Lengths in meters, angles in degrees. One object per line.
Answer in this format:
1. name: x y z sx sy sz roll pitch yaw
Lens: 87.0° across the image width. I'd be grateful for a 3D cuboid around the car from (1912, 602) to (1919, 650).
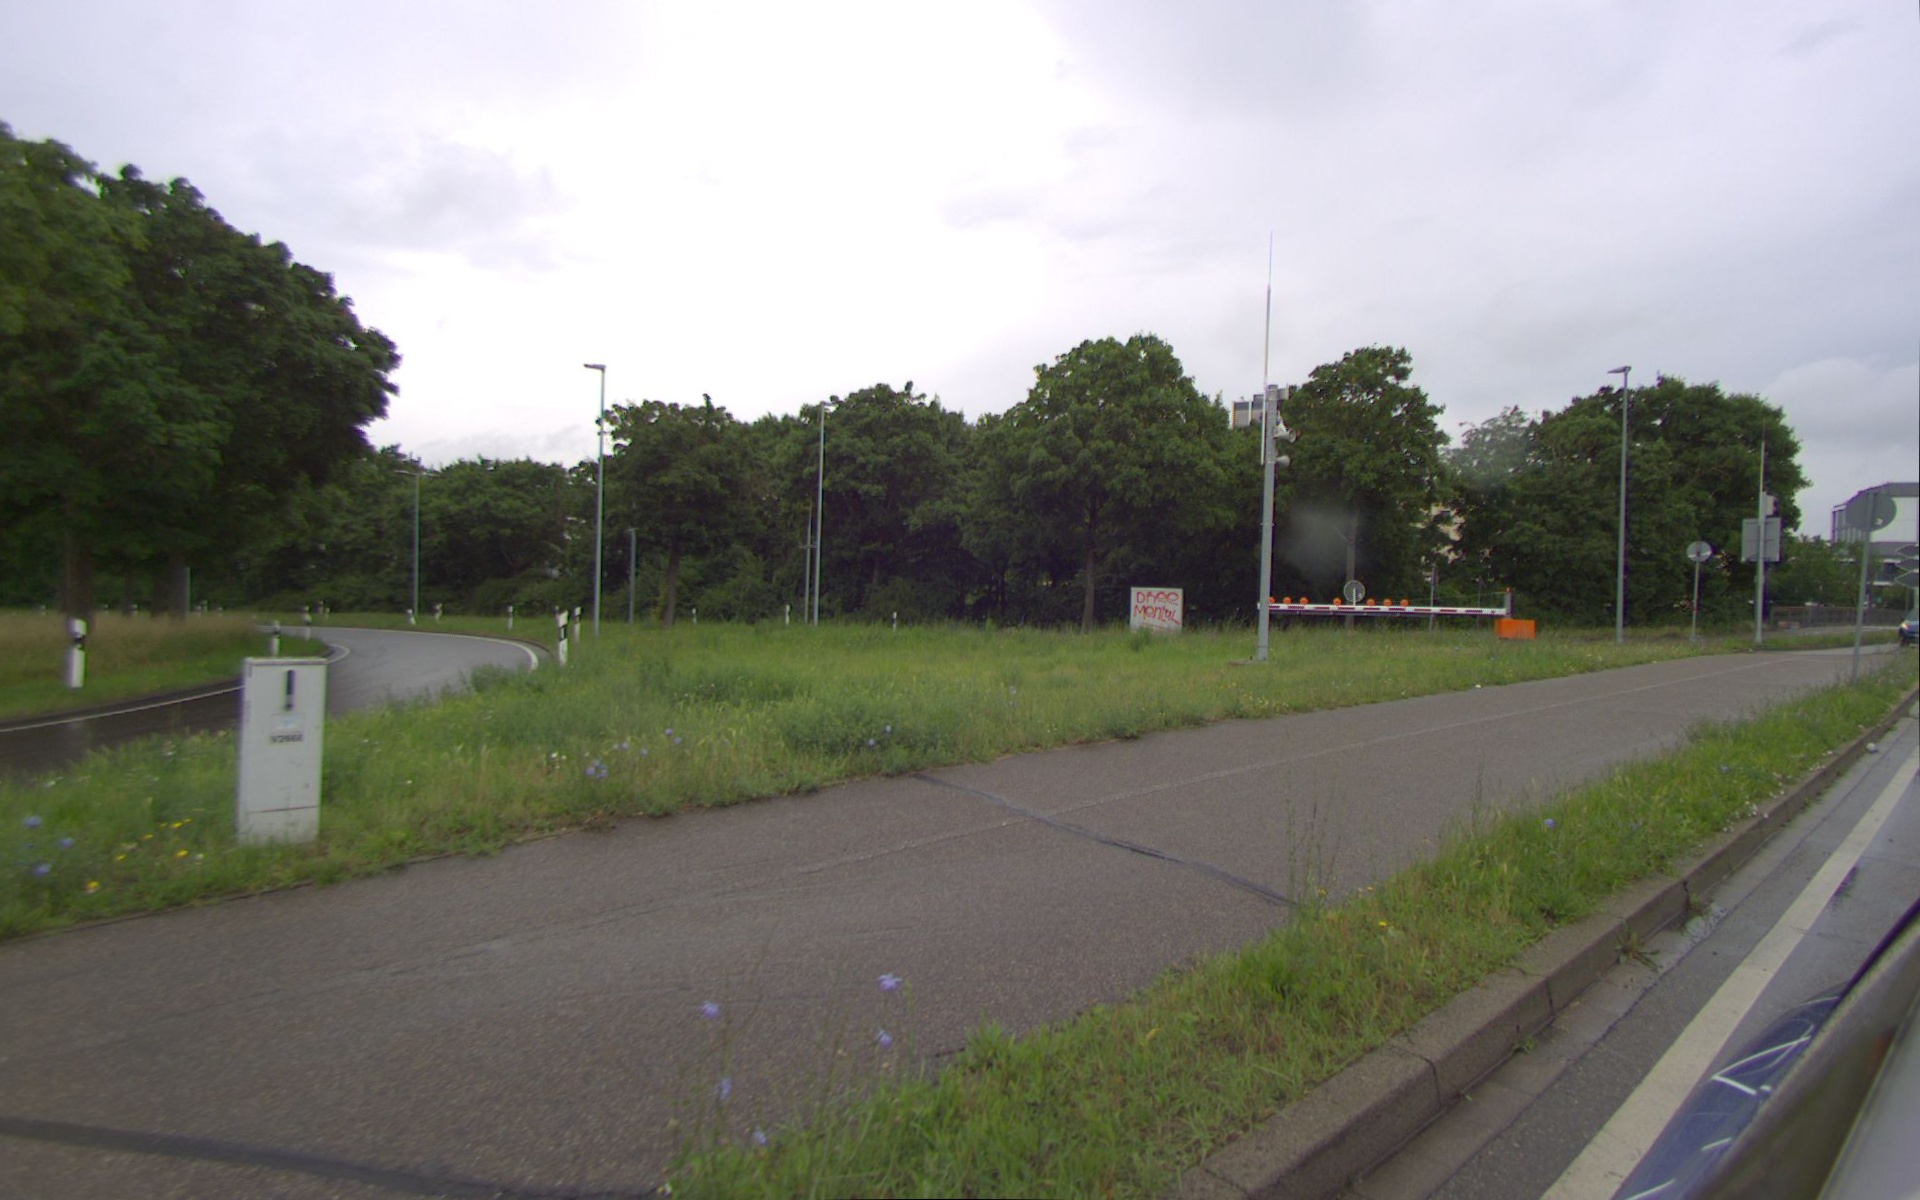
1. car: 40.290 1.009 41.152 4.608 1.820 1.966 -1 0 -43
